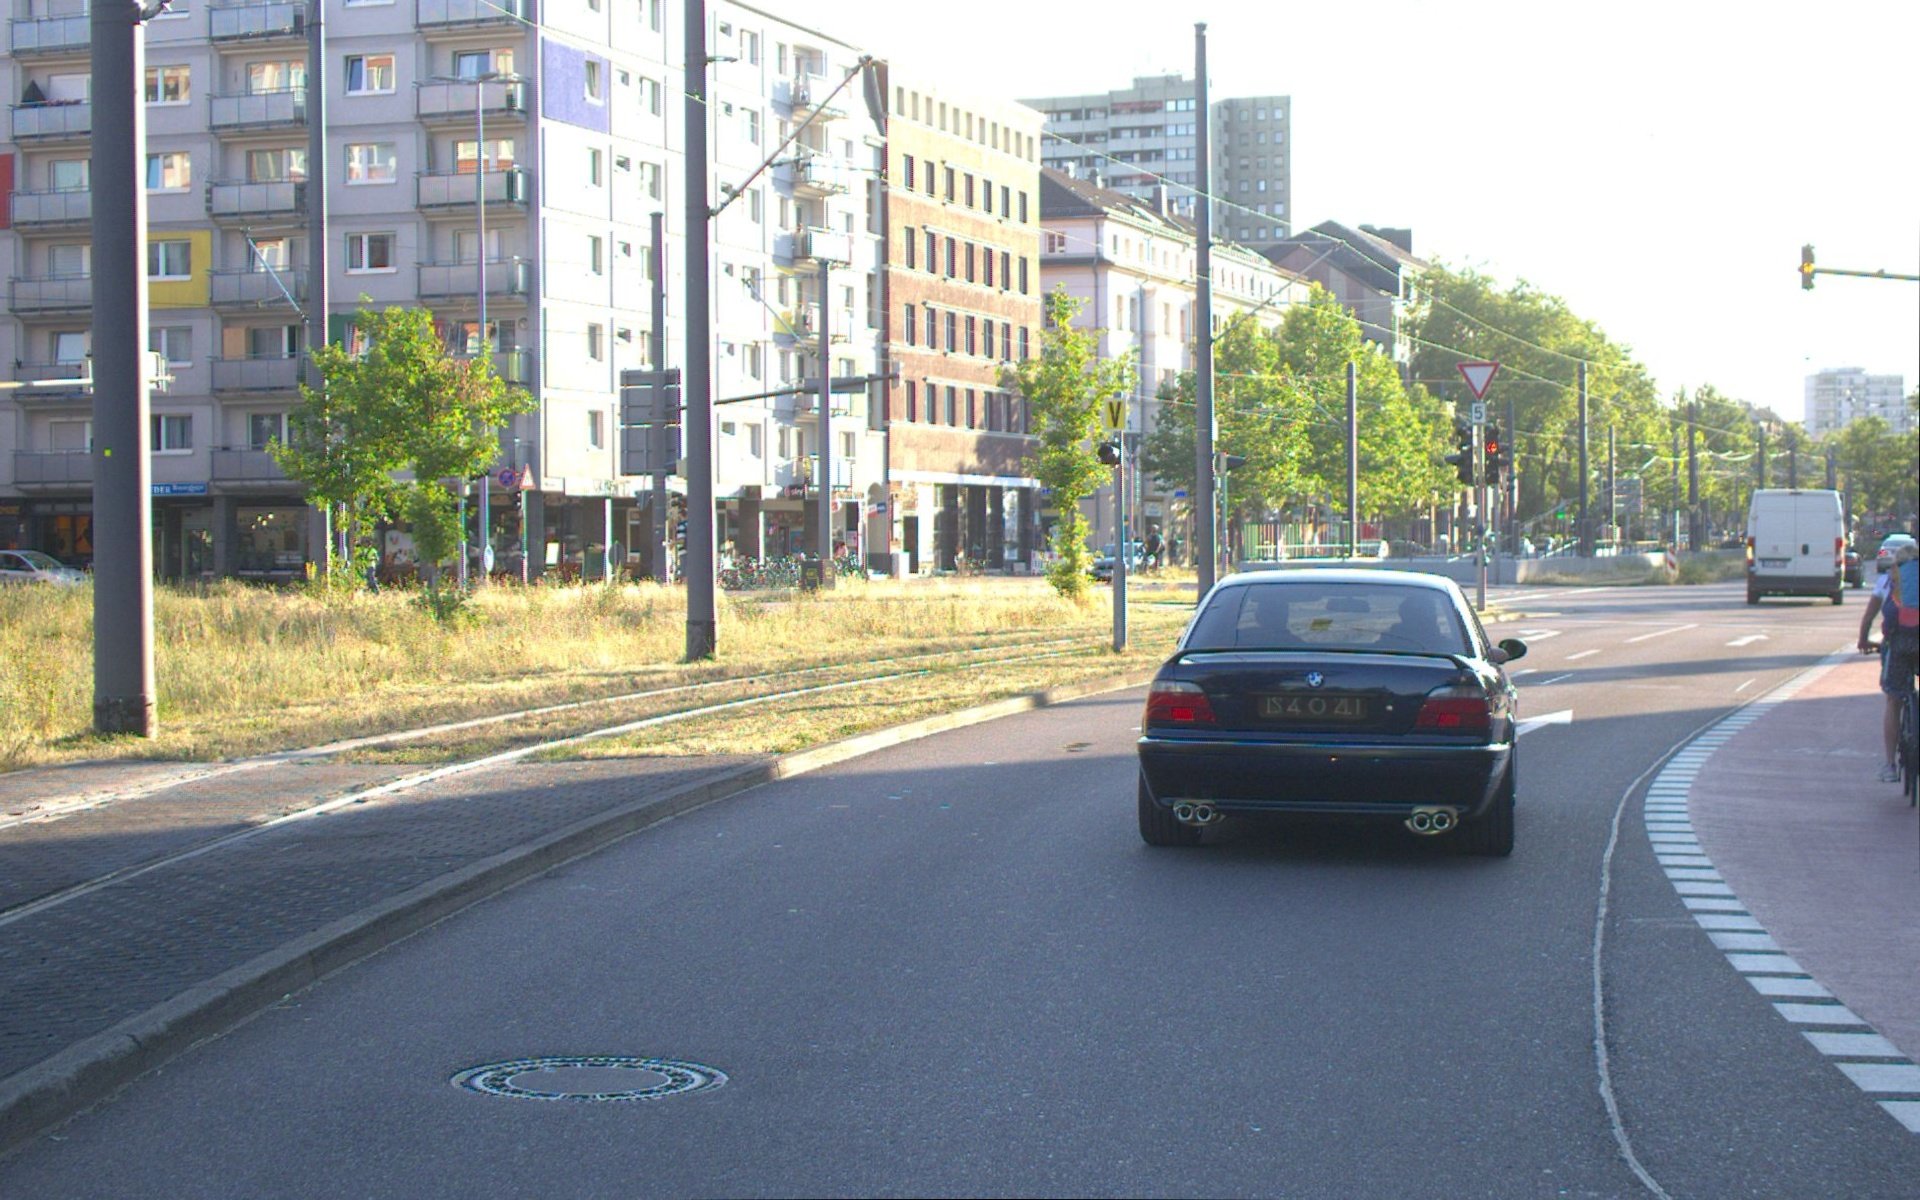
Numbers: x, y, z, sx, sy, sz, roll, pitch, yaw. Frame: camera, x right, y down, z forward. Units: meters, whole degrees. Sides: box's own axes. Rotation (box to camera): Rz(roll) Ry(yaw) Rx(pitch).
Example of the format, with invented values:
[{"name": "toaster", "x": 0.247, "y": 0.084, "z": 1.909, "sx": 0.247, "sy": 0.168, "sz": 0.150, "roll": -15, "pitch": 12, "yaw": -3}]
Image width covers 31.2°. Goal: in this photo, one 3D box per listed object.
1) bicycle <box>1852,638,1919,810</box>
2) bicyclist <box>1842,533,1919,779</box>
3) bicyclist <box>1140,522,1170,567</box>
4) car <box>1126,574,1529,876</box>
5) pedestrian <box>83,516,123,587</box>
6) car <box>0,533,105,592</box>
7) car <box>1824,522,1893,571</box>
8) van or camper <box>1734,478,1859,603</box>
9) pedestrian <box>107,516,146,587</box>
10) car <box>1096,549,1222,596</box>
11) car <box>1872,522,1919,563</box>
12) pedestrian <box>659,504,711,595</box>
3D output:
[{"name": "bicycle", "x": 5.879, "y": 0.757, "z": 21.499, "sx": 0.515, "sy": 0.951, "sz": 1.774, "roll": 2, "pitch": 2, "yaw": 16}, {"name": "bicyclist", "x": 5.852, "y": 0.332, "z": 21.338, "sx": 0.655, "sy": 1.478, "sz": 1.037, "roll": 2, "pitch": 1, "yaw": 16}, {"name": "bicyclist", "x": 6.334, "y": -1.812, "z": 111.819, "sx": 0.853, "sy": 1.437, "sz": 0.663, "roll": 1, "pitch": 3, "yaw": -4}, {"name": "car", "x": 2.039, "y": 0.554, "z": 18.210, "sx": 1.831, "sy": 1.349, "sz": 4.639, "roll": 1, "pitch": 1, "yaw": 9}, {"name": "pedestrian", "x": -22.590, "y": -1.290, "z": 90.583, "sx": 0.705, "sy": 1.845, "sz": 0.736, "roll": 0, "pitch": 2, "yaw": 19}, {"name": "car", "x": -26.195, "y": -1.059, "z": 96.397, "sx": 3.867, "sy": 1.579, "sz": 1.803, "roll": 0, "pitch": 2, "yaw": 13}, {"name": "car", "x": 27.123, "y": -1.625, "z": 103.668, "sx": 1.739, "sy": 1.381, "sz": 3.997, "roll": 0, "pitch": 2, "yaw": 19}, {"name": "van or camper", "x": 18.297, "y": -1.324, "z": 75.079, "sx": 2.265, "sy": 2.616, "sz": 4.499, "roll": 0, "pitch": 2, "yaw": 19}, {"name": "pedestrian", "x": -21.843, "y": -1.271, "z": 90.100, "sx": 0.603, "sy": 1.841, "sz": 0.821, "roll": 0, "pitch": 2, "yaw": 18}, {"name": "car", "x": 6.580, "y": -0.922, "z": 113.682, "sx": 3.988, "sy": 1.429, "sz": 1.718, "roll": 1, "pitch": 3, "yaw": 10}, {"name": "car", "x": 37.611, "y": -2.321, "z": 138.125, "sx": 1.795, "sy": 1.560, "sz": 3.998, "roll": 0, "pitch": 2, "yaw": 14}, {"name": "pedestrian", "x": -5.378, "y": -0.988, "z": 67.240, "sx": 0.721, "sy": 1.756, "sz": 0.649, "roll": 1, "pitch": 3, "yaw": 39}]
